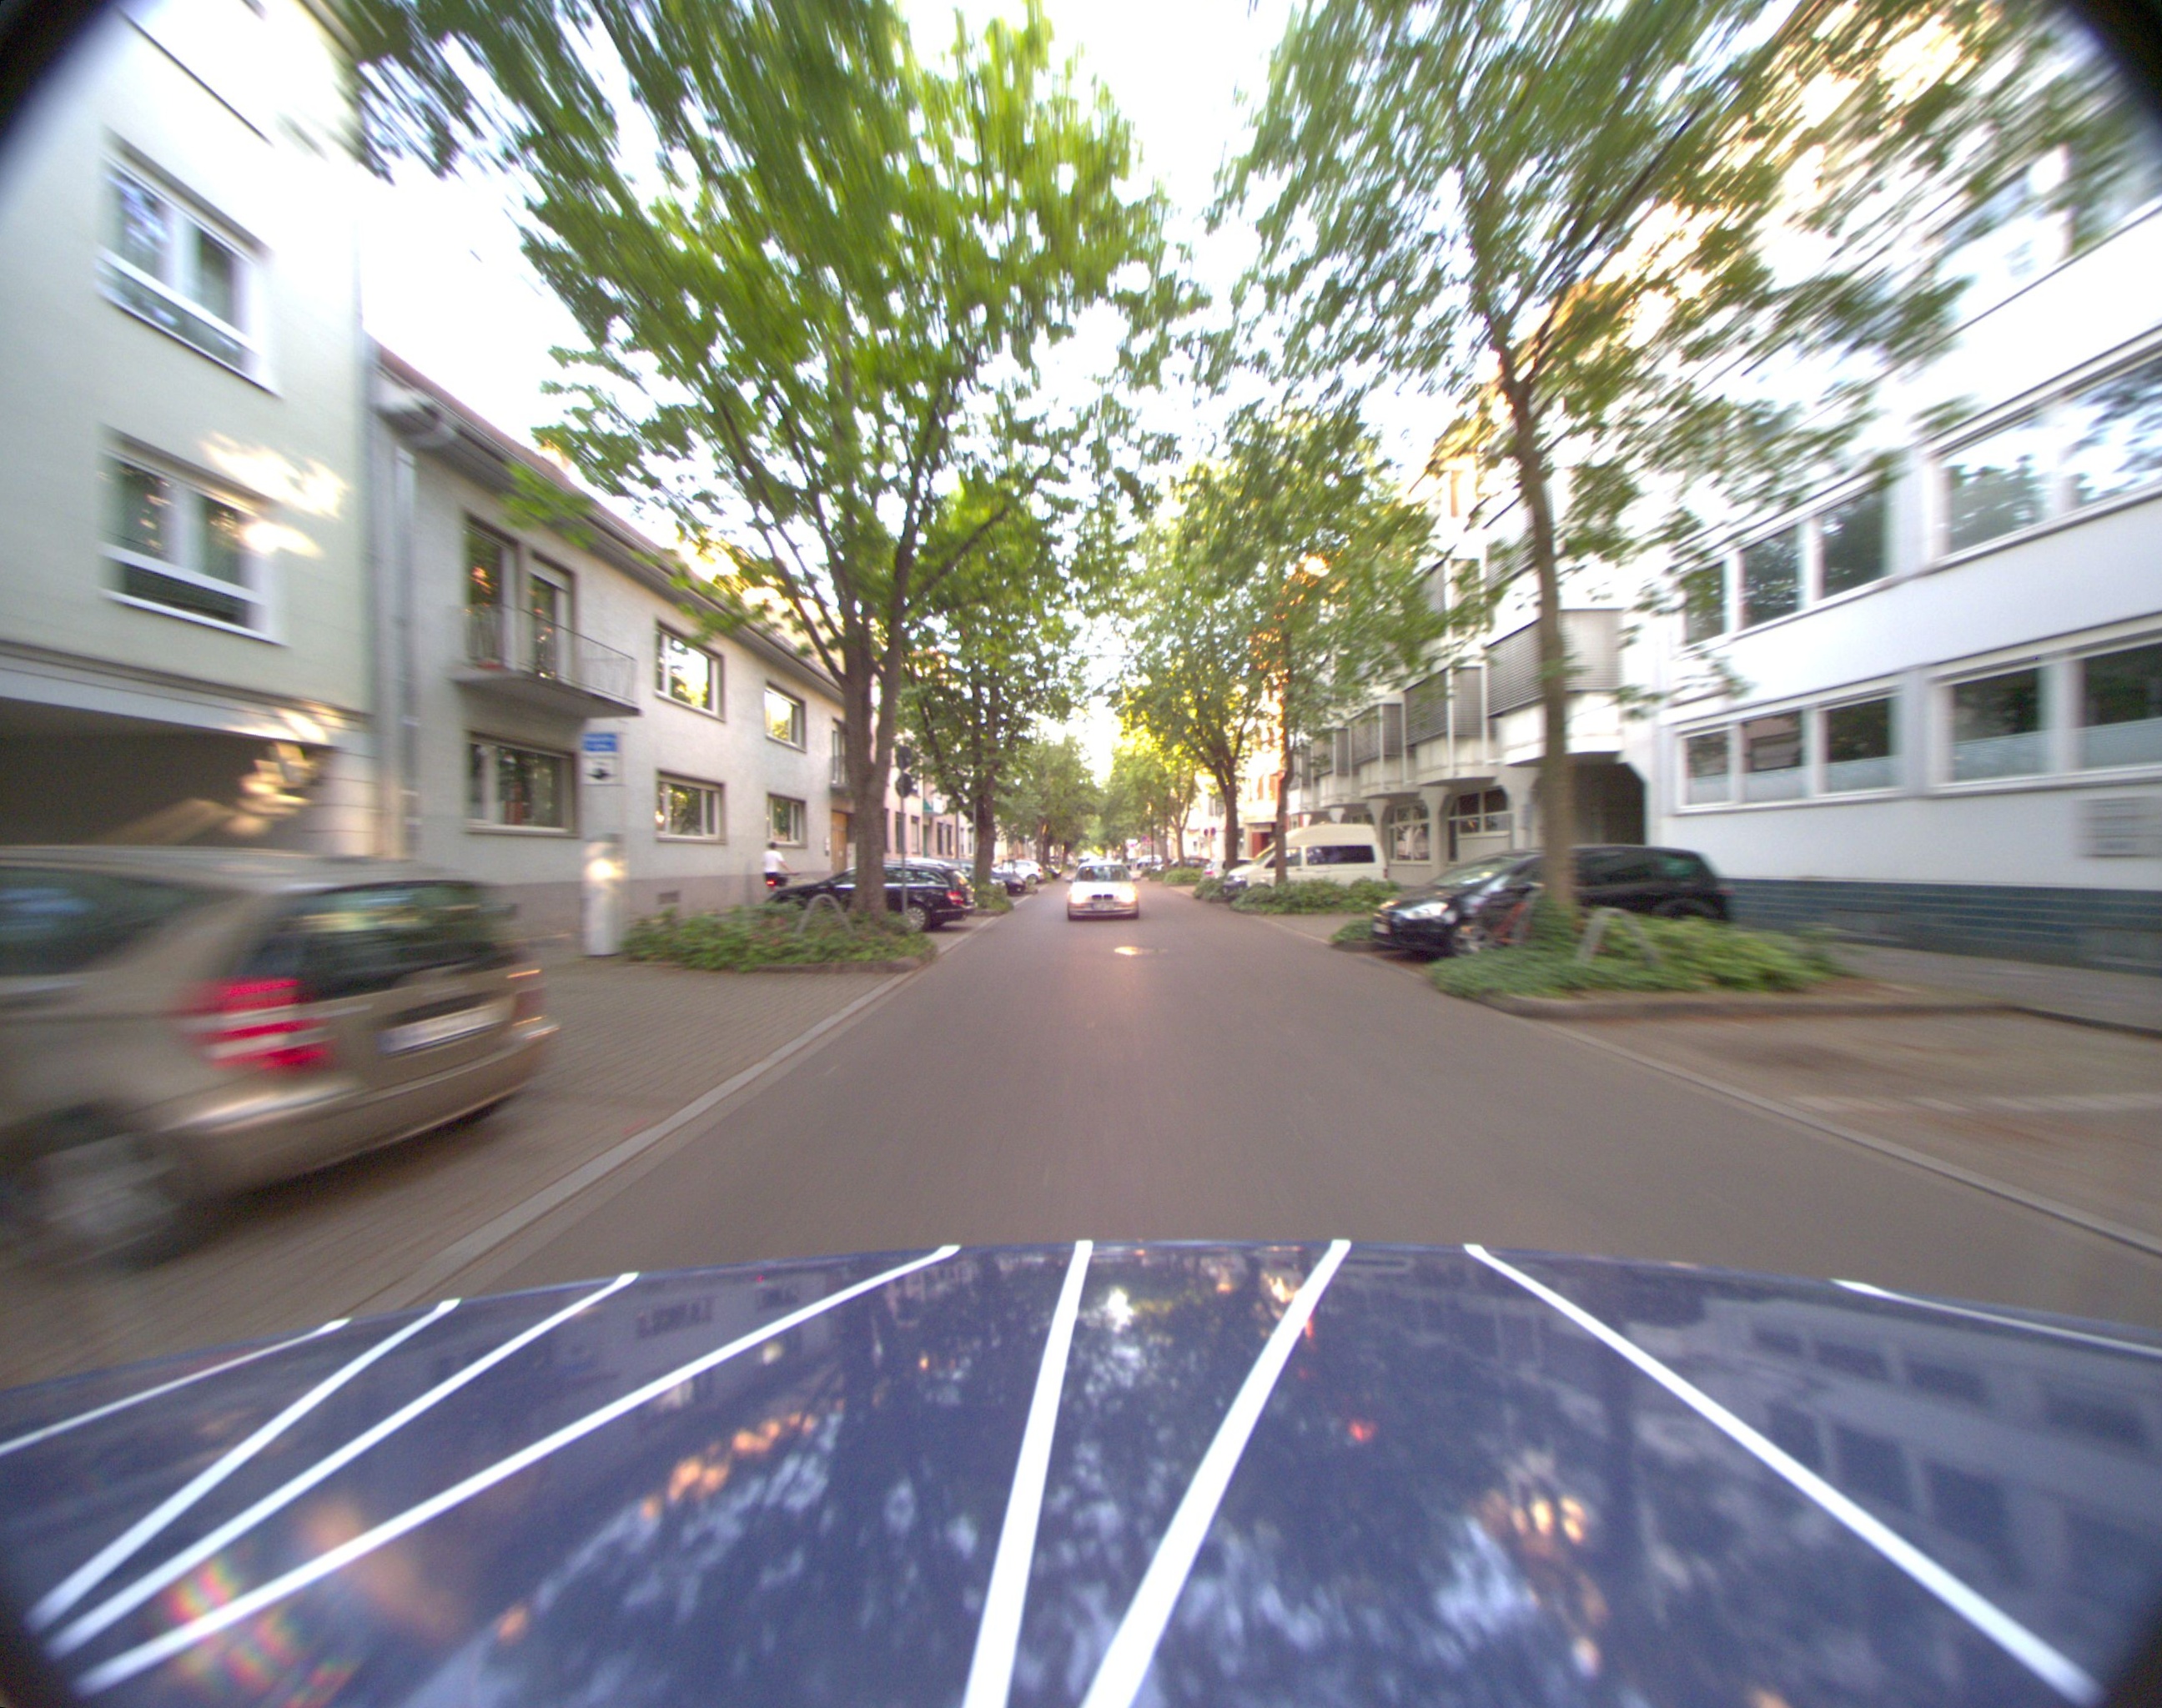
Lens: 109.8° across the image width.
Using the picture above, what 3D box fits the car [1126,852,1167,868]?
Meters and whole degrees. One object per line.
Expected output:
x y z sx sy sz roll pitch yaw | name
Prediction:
7.530 0.659 87.605 4.601 1.725 2.142 -1 0 6 | car

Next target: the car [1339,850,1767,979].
6.560 0.805 11.078 4.864 1.612 2.160 -1 0 2 | car

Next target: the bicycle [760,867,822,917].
-7.750 0.962 20.462 0.622 1.157 3.399 -1 0 -5 | bicycle

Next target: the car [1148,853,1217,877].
6.994 0.754 52.607 4.520 1.517 1.872 -1 0 0 | car

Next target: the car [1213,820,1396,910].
6.783 0.324 23.488 5.016 2.558 2.121 -1 0 1 | car

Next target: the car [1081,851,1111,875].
1.133 0.647 55.566 1.892 1.635 4.001 -2 0 5 | car

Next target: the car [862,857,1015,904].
-4.721 0.864 25.652 4.689 1.380 2.001 2 0 2 | car

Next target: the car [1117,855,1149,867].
7.602 1.044 111.682 4.529 1.705 2.000 -1 0 1 | car

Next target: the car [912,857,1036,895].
-4.458 0.887 32.115 4.851 1.439 2.042 1 0 3 | car

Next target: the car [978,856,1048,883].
-4.039 0.922 45.938 4.093 1.482 1.798 -1 0 -2 | car

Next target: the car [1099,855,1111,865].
4.145 1.009 132.352 1.787 1.678 4.385 -1 0 -1 | car

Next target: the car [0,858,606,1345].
-4.861 0.864 3.603 3.979 1.576 1.916 2 0 0 | car

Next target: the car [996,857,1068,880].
-3.444 1.019 53.908 4.886 1.488 1.988 -1 0 1 | car

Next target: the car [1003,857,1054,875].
-4.029 0.934 58.763 3.846 1.403 1.712 0 0 -4 | car

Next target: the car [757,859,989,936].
-4.465 0.906 16.752 4.468 1.419 2.012 2 0 5 | car

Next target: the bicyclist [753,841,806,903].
-7.976 0.468 20.153 0.973 1.595 1.135 -1 0 -3 | bicyclist

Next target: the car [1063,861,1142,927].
0.514 0.917 19.057 1.736 1.363 4.332 -2 0 1 | car

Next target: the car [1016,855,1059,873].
-3.796 0.875 67.448 3.731 1.544 1.754 -1 0 -2 | car

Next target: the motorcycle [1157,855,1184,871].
8.027 0.796 68.338 2.234 1.461 0.900 -1 0 -22 | motorcycle

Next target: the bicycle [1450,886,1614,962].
5.283 0.814 8.969 1.556 0.826 0.613 -1 0 4 | bicycle

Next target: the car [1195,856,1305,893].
7.000 0.838 31.726 4.178 1.460 1.953 -1 0 1 | car
